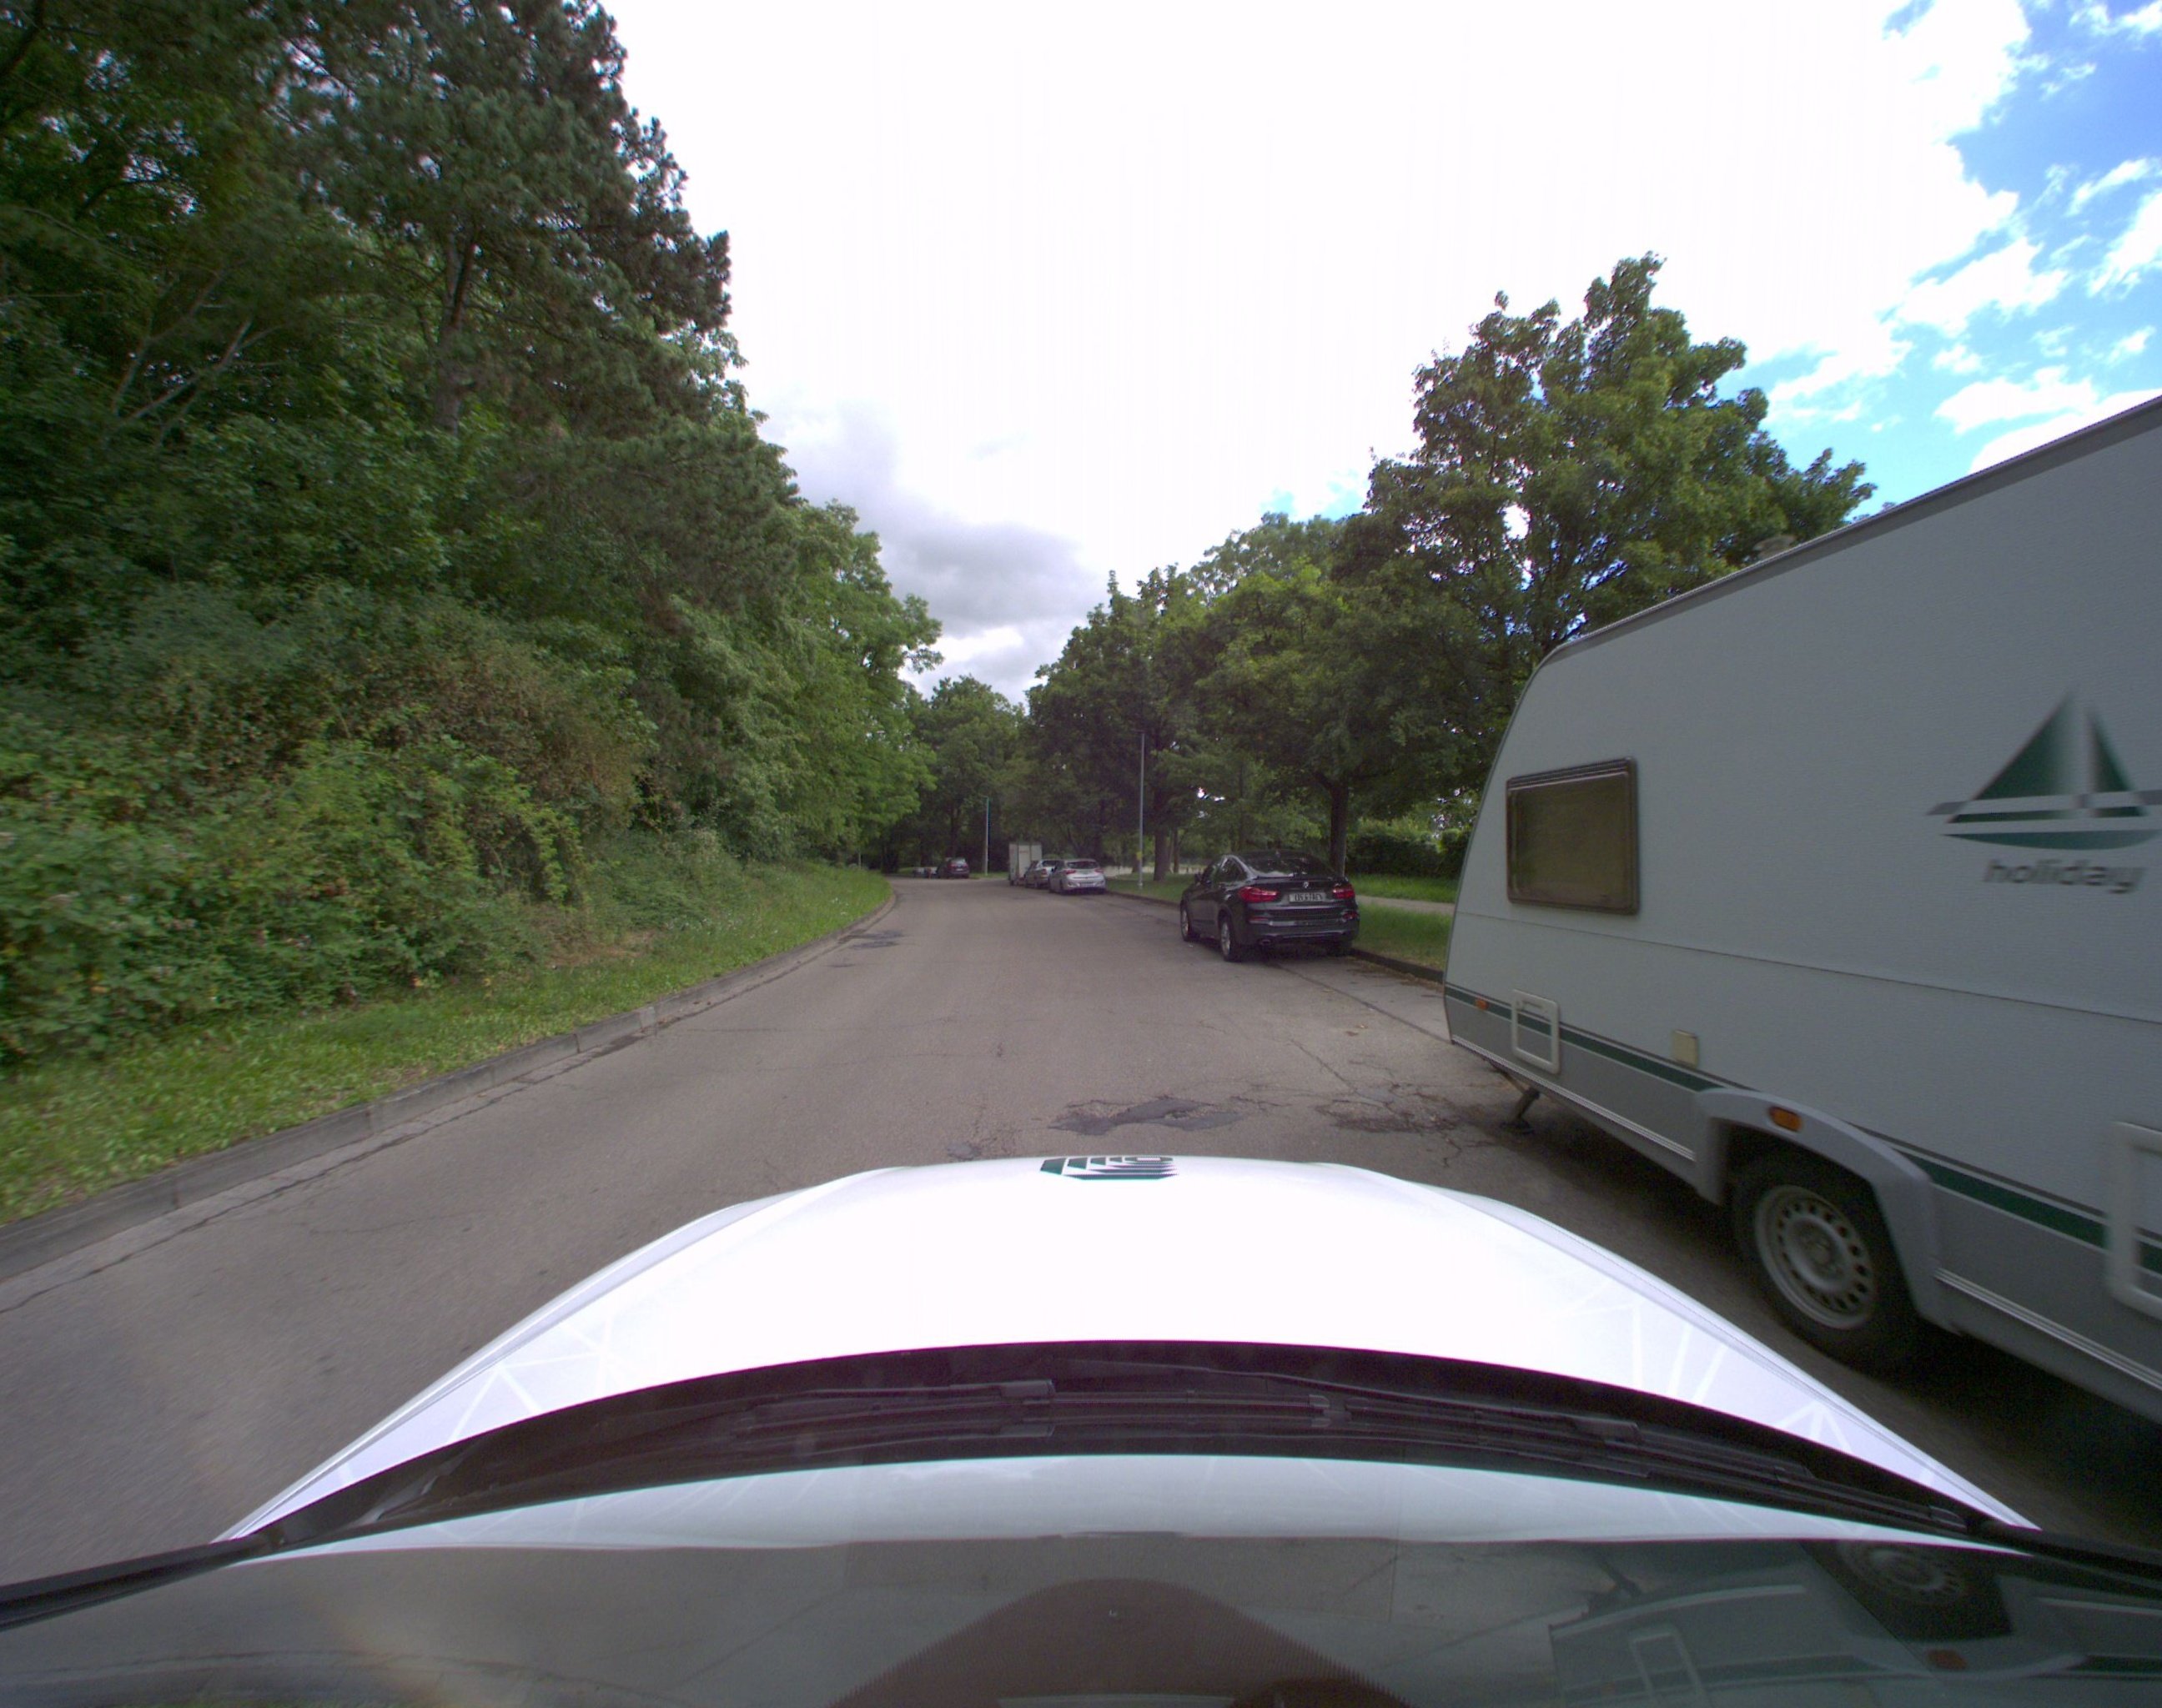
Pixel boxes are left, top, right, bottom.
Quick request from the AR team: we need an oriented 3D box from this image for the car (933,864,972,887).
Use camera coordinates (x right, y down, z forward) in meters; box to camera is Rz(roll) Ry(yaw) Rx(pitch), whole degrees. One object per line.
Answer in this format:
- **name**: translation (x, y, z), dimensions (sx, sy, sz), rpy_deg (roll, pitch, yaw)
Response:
- **car**: translation (-10.025, 1.717, 63.411), dimensions (1.783, 1.663, 4.801), rpy_deg (1, -3, -24)

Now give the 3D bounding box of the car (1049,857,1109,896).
- **car**: translation (-0.156, 0.909, 33.981), dimensions (1.902, 1.476, 4.046), rpy_deg (-1, -1, -9)

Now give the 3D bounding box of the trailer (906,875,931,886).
- **trailer**: translation (-14.637, 2.402, 73.170), dimensions (1.371, 0.848, 3.248), rpy_deg (2, -4, -28)

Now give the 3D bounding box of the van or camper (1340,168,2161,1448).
- **van or camper**: translation (3.196, -0.038, 3.530), dimensions (2.155, 2.536, 6.028), rpy_deg (0, -2, -1)

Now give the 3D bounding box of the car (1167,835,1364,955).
- **car**: translation (2.828, 0.612, 13.626), dimensions (1.846, 1.643, 4.521), rpy_deg (-1, -1, -6)

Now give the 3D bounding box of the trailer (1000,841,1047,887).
- **trailer**: translation (-3.271, 0.554, 45.558), dimensions (1.765, 2.427, 3.864), rpy_deg (-1, -1, -17)

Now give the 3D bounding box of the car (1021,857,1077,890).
- **car**: translation (-1.661, 0.961, 40.406), dimensions (1.745, 1.525, 4.610), rpy_deg (-1, -1, -16)

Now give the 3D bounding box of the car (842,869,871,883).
- **car**: translation (-24.268, 2.412, 88.034), dimensions (1.731, 1.432, 3.904), rpy_deg (-1, -2, -37)

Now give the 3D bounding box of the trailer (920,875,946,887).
- **trailer**: translation (-12.542, 2.268, 68.900), dimensions (1.363, 0.969, 3.863), rpy_deg (2, -2, -22)
